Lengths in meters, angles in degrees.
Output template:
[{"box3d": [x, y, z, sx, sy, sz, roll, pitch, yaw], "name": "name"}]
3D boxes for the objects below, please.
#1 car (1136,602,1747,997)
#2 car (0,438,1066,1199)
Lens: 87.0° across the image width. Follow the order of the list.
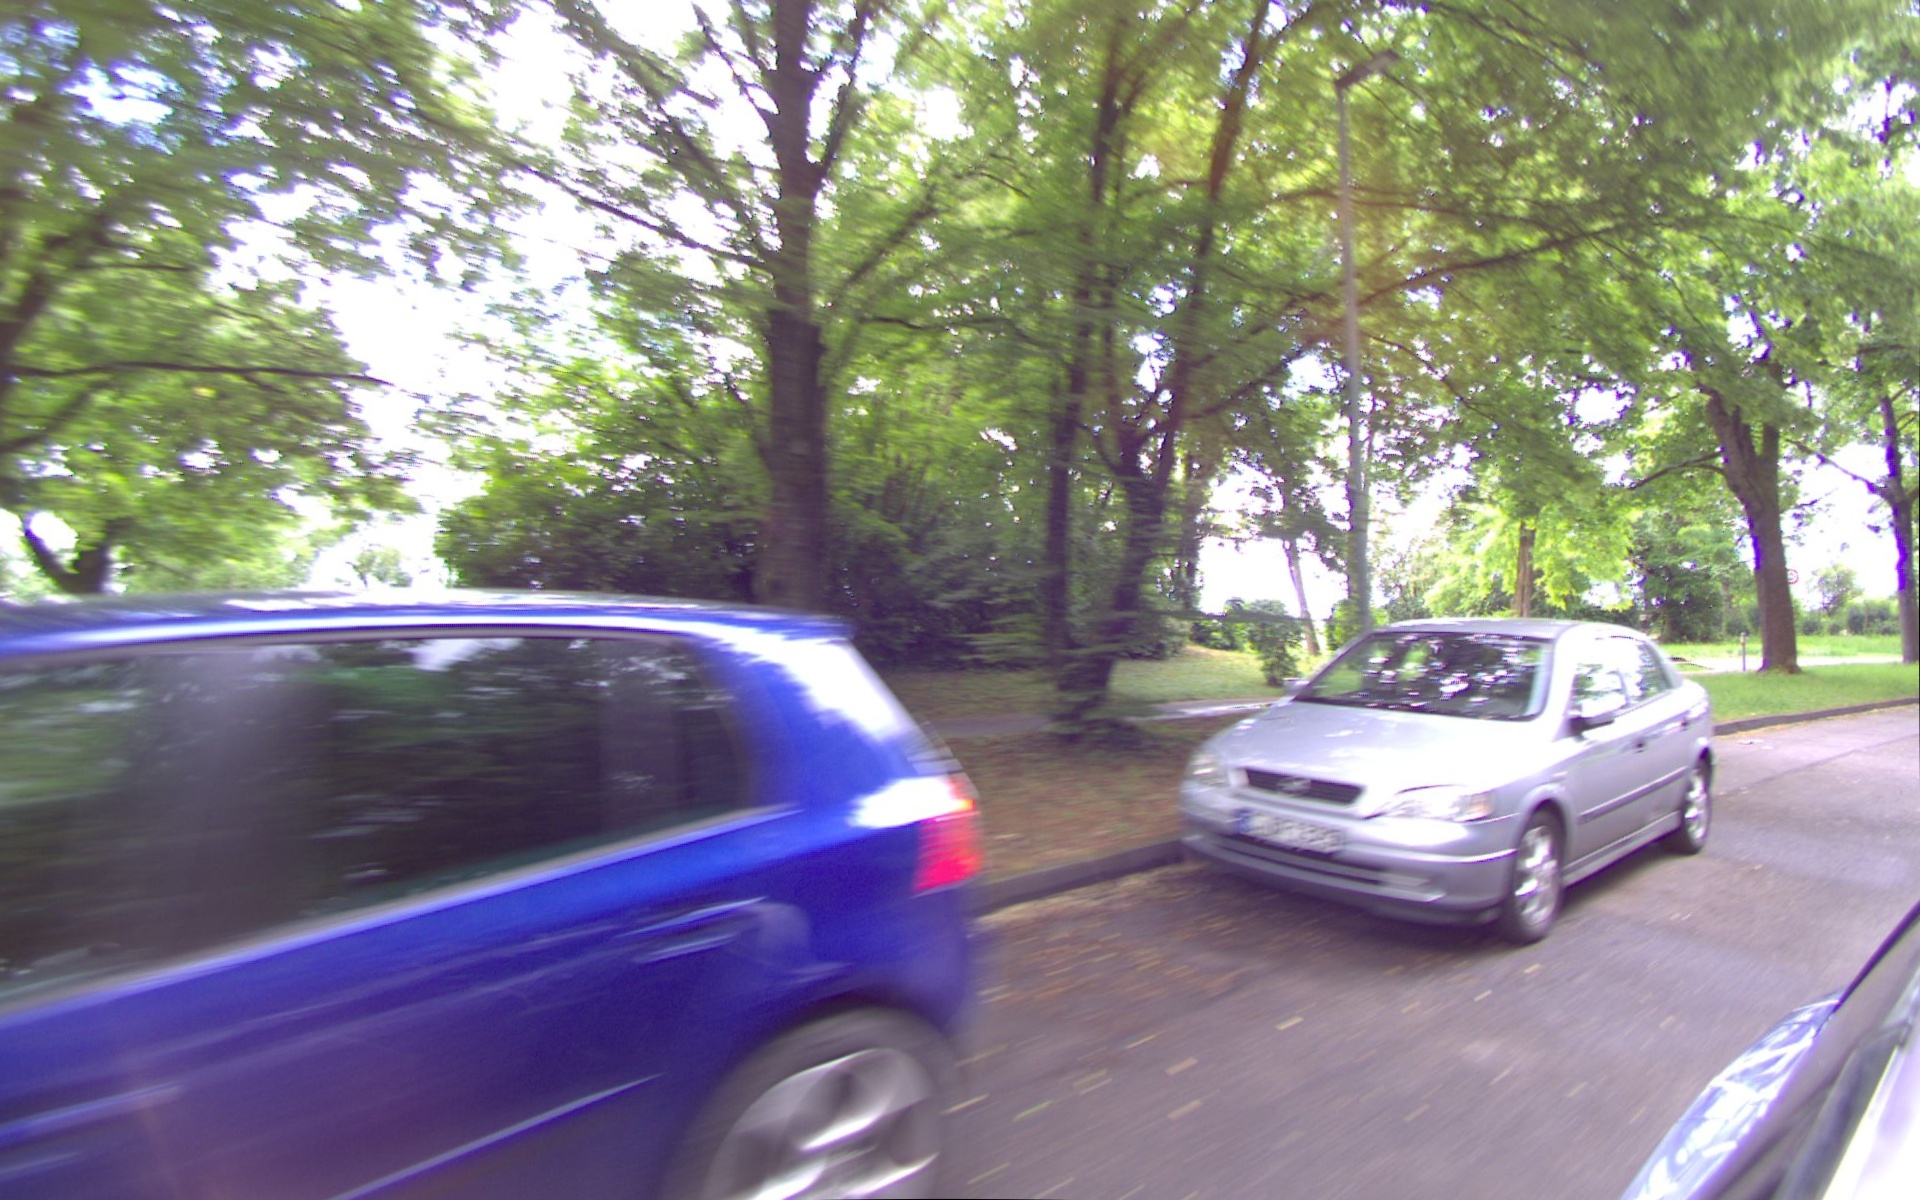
[{"box3d": [2.928, 0.762, 5.777, 3.879, 1.449, 1.721, -1, 1, -40], "name": "car"}, {"box3d": [-1.869, 0.603, 1.712, 4.108, 1.529, 1.716, -1, -2, -41], "name": "car"}]
